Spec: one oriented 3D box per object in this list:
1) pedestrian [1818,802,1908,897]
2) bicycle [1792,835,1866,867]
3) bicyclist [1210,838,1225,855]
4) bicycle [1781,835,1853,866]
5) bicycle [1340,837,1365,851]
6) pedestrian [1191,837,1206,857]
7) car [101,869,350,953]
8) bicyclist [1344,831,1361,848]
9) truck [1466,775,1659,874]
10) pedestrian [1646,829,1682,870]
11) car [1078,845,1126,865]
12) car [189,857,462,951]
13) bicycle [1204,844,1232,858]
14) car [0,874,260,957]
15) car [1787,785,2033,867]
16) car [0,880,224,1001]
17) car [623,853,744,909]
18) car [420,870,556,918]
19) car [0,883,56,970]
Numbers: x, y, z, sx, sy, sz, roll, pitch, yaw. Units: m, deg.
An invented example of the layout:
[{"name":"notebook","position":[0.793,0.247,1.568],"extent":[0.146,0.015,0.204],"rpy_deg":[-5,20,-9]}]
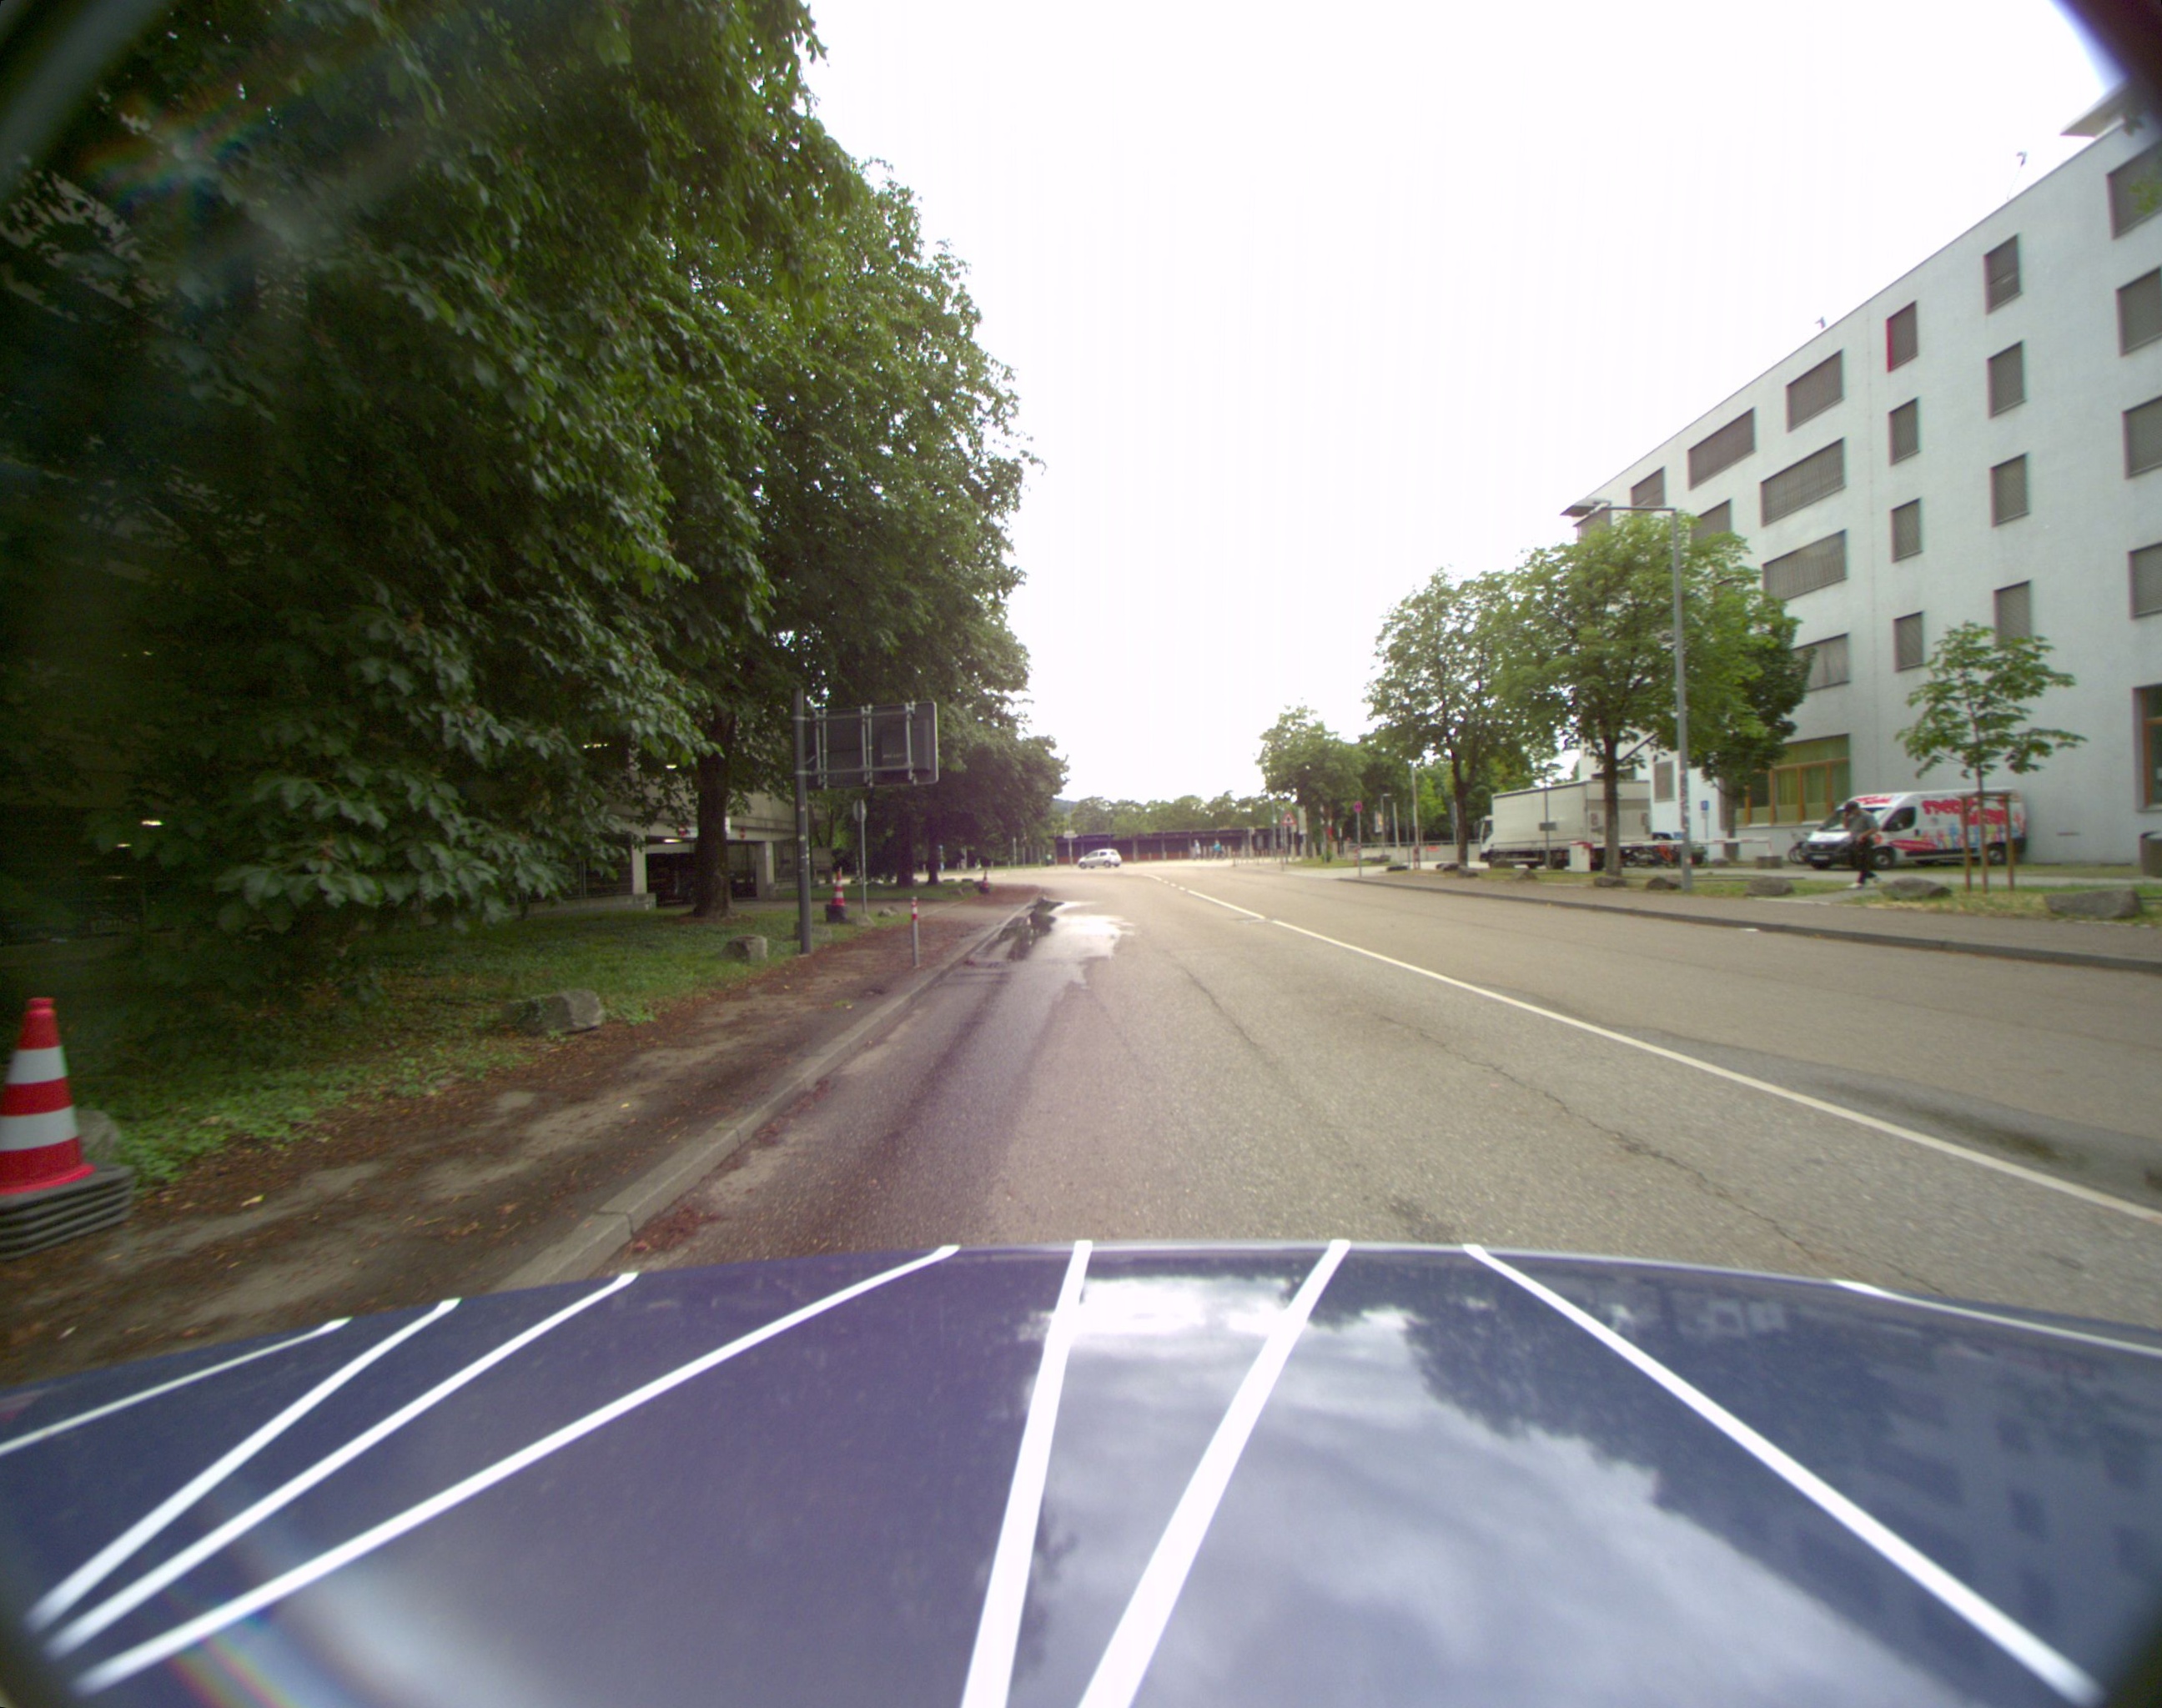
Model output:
[{"name":"pedestrian","position":[14.436,-0.087,14.042],"extent":[0.845,1.662,0.786],"rpy_deg":[-3,2,-5]},{"name":"bicycle","position":[27.377,-0.107,27.820],"extent":[2.029,1.064,0.614],"rpy_deg":[-3,2,3]},{"name":"bicyclist","position":[12.086,-0.638,67.246],"extent":[1.159,1.422,0.742],"rpy_deg":[-3,2,-3]},{"name":"bicycle","position":[27.556,-0.131,28.468],"extent":[2.029,1.064,0.614],"rpy_deg":[-3,2,3]},{"name":"bicycle","position":[25.068,-0.921,70.179],"extent":[2.051,1.137,0.777],"rpy_deg":[-3,3,-10]},{"name":"pedestrian","position":[10.911,-0.669,70.368],"extent":[1.200,1.824,0.927],"rpy_deg":[-3,3,4]},{"name":"car","position":[-20.320,1.272,18.314],"extent":[1.721,1.577,3.690],"rpy_deg":[-3,1,-1]},{"name":"bicyclist","position":[25.043,-1.315,70.164],"extent":[1.101,1.487,0.926],"rpy_deg":[-3,3,-9]},{"name":"truck","position":[20.311,-1.194,32.861],"extent":[2.684,3.580,8.361],"rpy_deg":[-3,1,-2]},{"name":"pedestrian","position":[23.368,-0.200,30.477],"extent":[0.679,1.597,0.887],"rpy_deg":[-3,2,-7]},{"name":"car","position":[1.702,0.105,62.366],"extent":[3.494,1.448,1.609],"rpy_deg":[-2,2,28]},{"name":"car","position":[-17.303,1.034,17.834],"extent":[1.589,1.699,4.666],"rpy_deg":[-3,1,1]},{"name":"bicycle","position":[12.100,-0.272,67.259],"extent":[2.257,1.117,0.748],"rpy_deg":[-3,2,-3]},{"name":"car","position":[-22.796,1.387,18.409],"extent":[1.721,1.537,3.700],"rpy_deg":[-3,1,-1]},{"name":"car","position":[26.532,-0.889,24.469],"extent":[5.640,2.266,2.078],"rpy_deg":[-3,2,0]},{"name":"car","position":[-17.524,1.440,12.832],"extent":[1.589,1.699,3.856],"rpy_deg":[-3,1,1]},{"name":"car","position":[-14.722,0.918,28.472],"extent":[1.924,1.824,4.735],"rpy_deg":[-3,0,0]},{"name":"car","position":[-22.760,1.499,29.401],"extent":[1.876,1.445,4.000],"rpy_deg":[-3,1,4]},{"name":"car","position":[-20.423,1.401,12.602],"extent":[1.721,1.537,3.700],"rpy_deg":[-3,1,-1]}]
